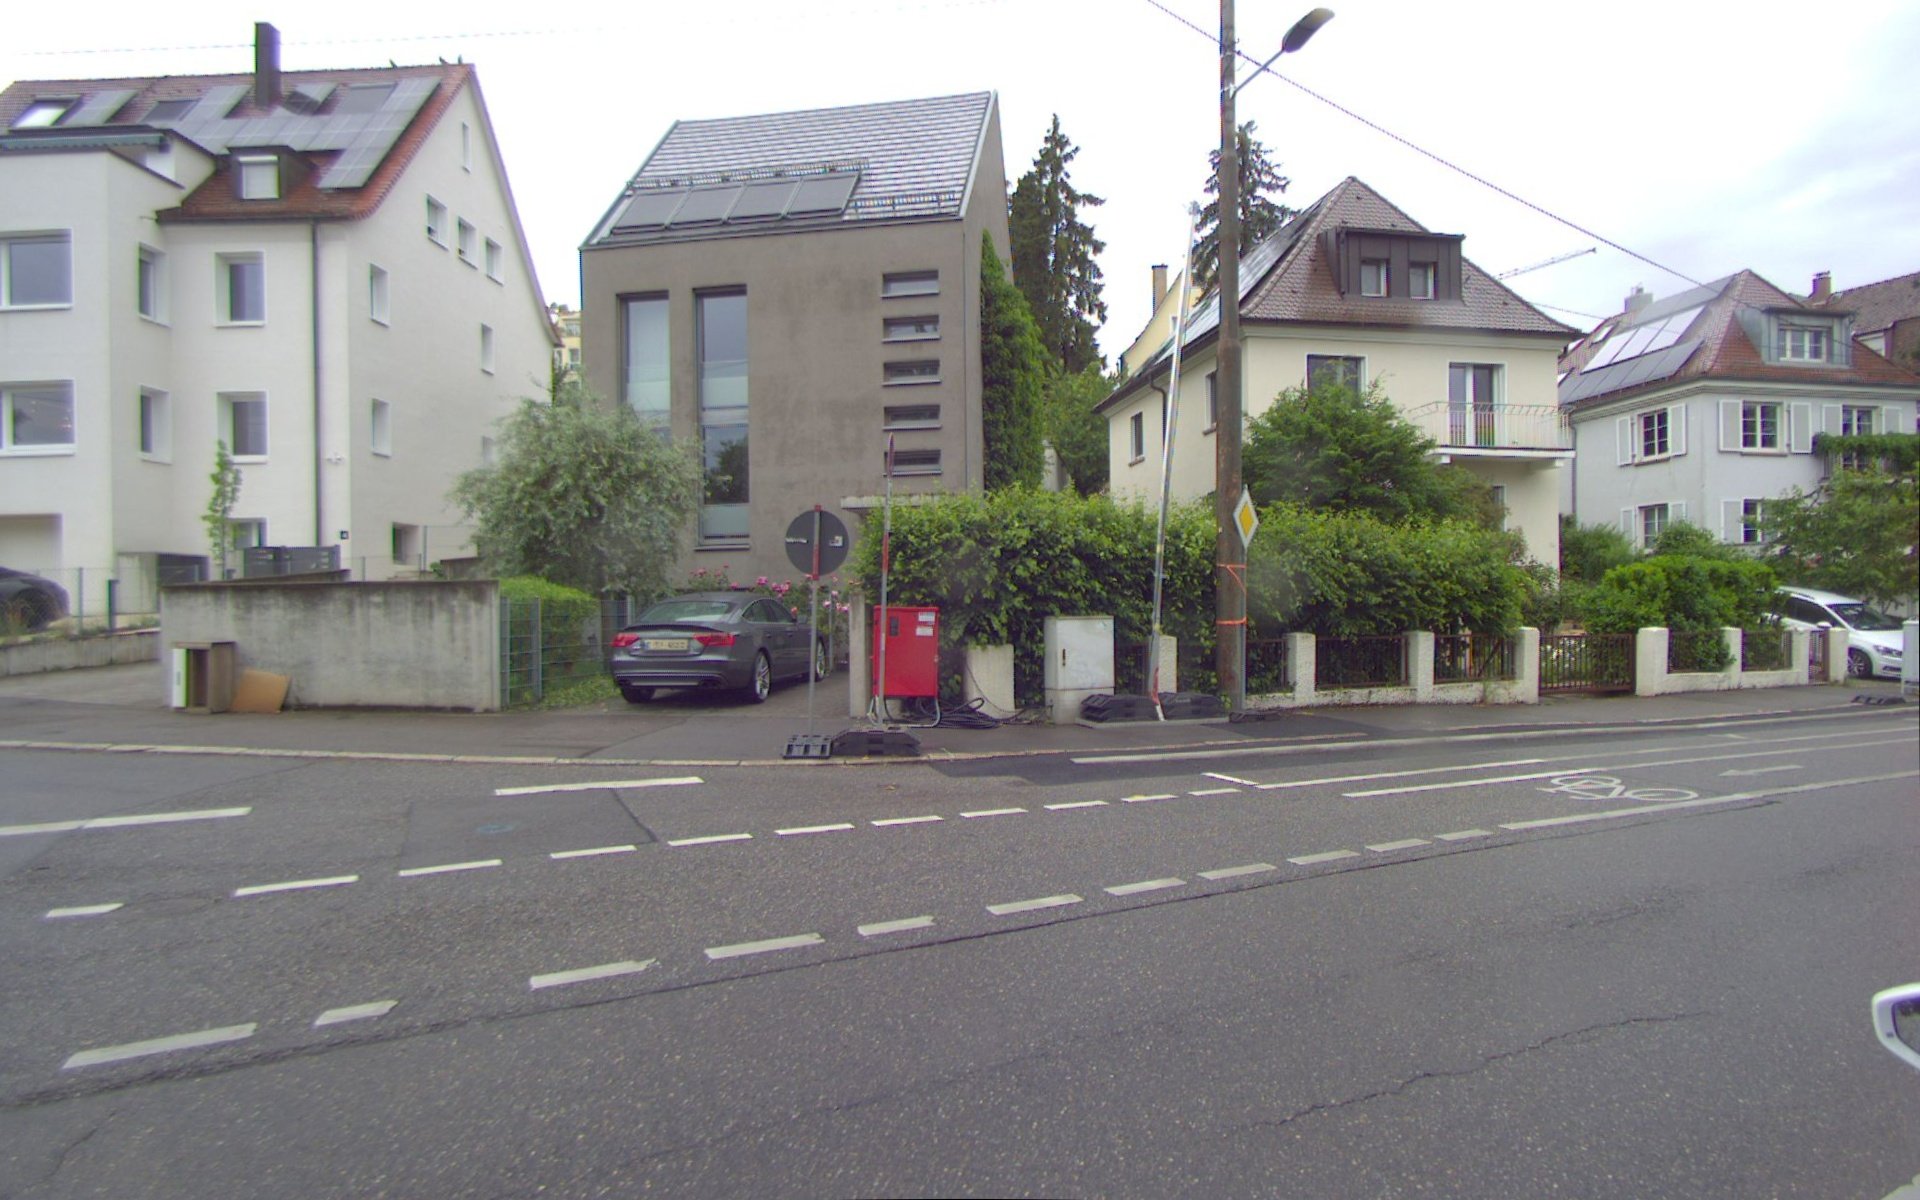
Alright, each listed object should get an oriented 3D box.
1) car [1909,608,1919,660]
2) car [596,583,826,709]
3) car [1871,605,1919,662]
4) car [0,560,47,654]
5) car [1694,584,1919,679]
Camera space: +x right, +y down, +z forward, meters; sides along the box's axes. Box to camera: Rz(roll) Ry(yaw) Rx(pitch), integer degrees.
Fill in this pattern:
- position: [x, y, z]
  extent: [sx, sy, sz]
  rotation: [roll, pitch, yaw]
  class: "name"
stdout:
- position: [28.832, 1.040, 27.340]
  extent: [1.733, 1.505, 3.983]
  rotation: [3, 0, -18]
  class: "car"
- position: [-3.208, 0.545, 13.811]
  extent: [1.802, 1.463, 4.002]
  rotation: [0, 0, 6]
  class: "car"
- position: [26.913, 0.974, 26.424]
  extent: [1.733, 1.505, 3.983]
  rotation: [3, 0, -18]
  class: "car"
- position: [-16.535, 0.098, 15.272]
  extent: [1.700, 1.528, 3.820]
  rotation: [1, 0, 3]
  class: "car"
- position: [19.995, 0.693, 23.745]
  extent: [1.801, 2.040, 3.984]
  rotation: [1, 0, -18]
  class: "car"
